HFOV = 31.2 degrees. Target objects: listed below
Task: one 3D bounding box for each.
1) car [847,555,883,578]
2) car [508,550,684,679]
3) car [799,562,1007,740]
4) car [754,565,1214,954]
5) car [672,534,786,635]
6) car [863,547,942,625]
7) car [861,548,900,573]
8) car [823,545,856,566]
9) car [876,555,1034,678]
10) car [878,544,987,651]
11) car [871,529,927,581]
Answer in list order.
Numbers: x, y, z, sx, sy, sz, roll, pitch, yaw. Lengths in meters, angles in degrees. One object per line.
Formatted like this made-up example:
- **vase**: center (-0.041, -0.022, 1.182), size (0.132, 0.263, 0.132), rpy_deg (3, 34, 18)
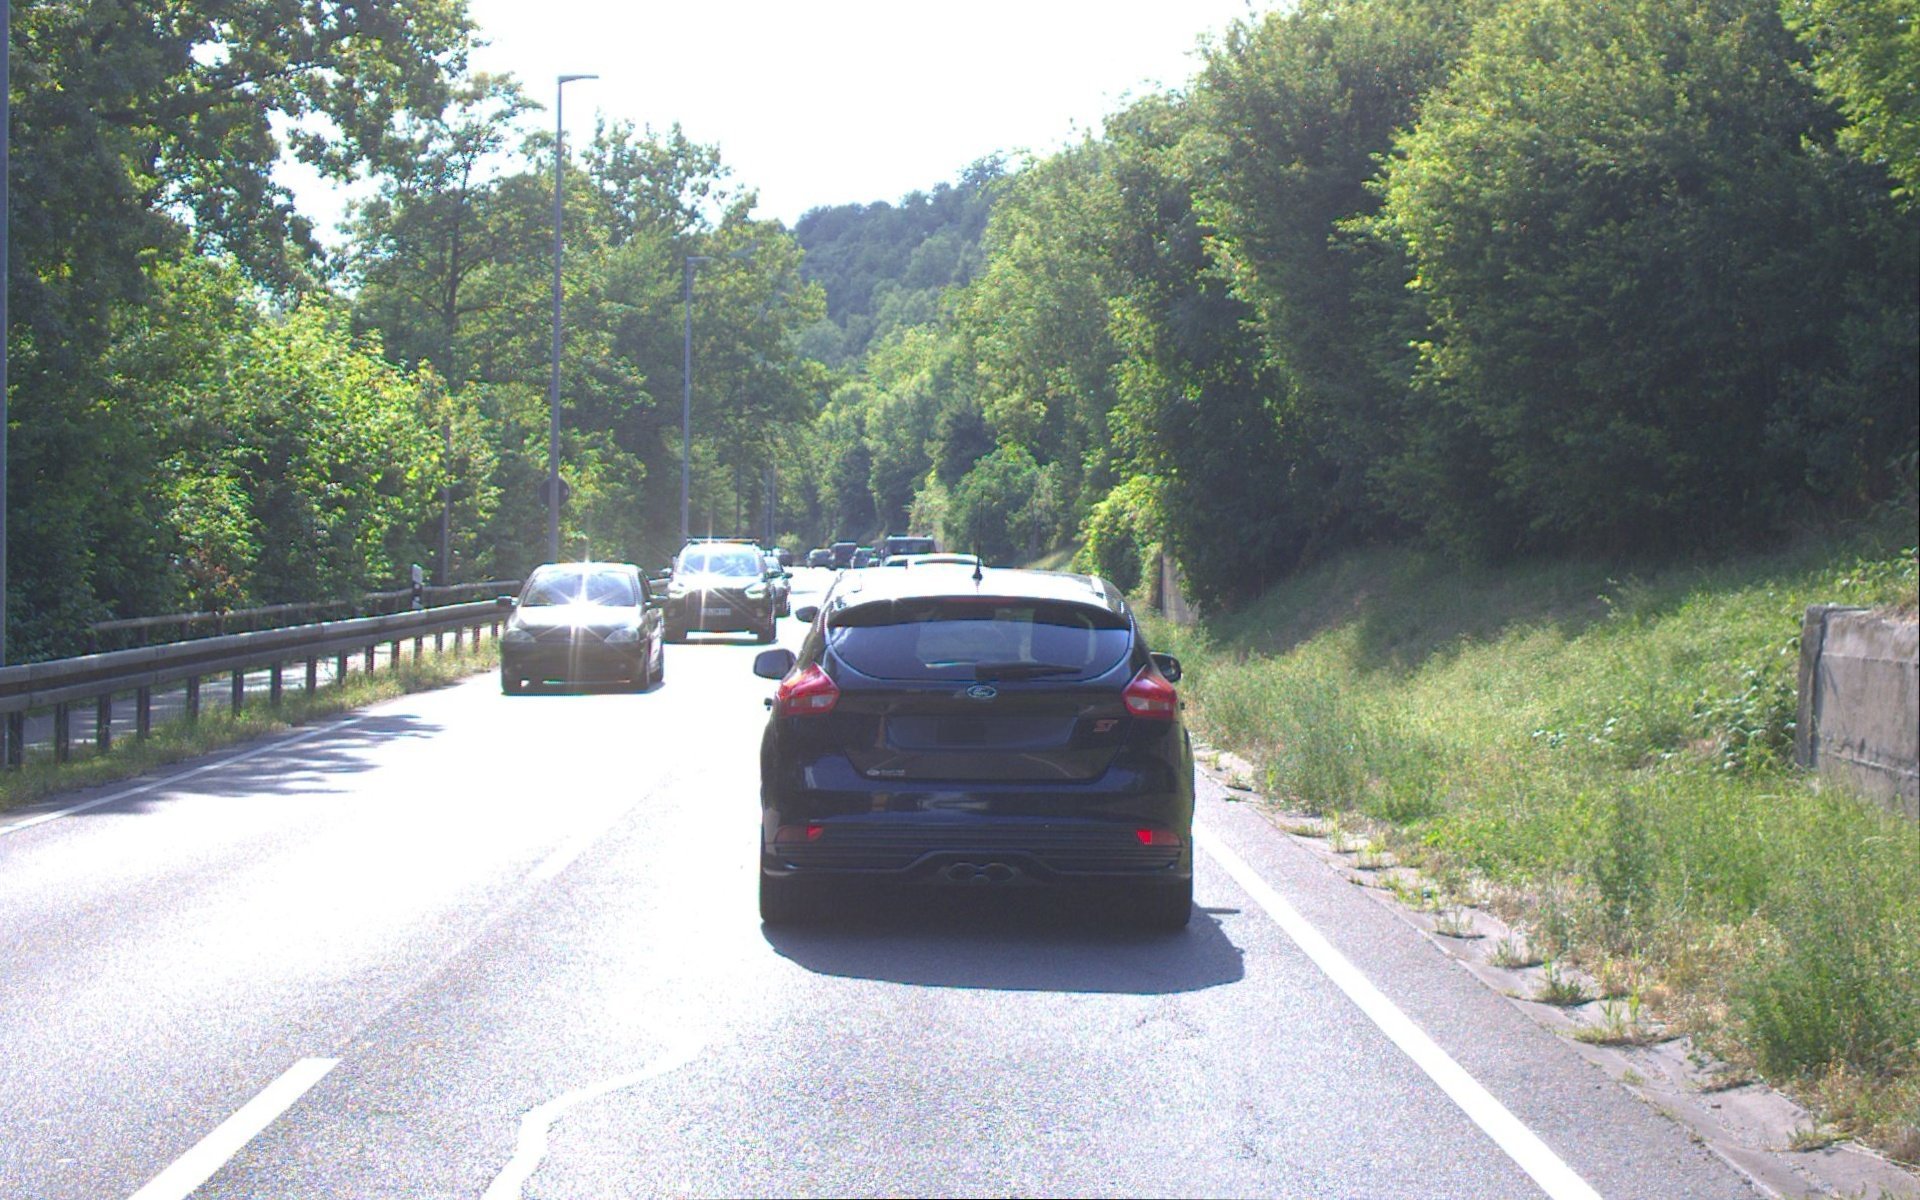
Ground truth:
- **car**: center (-6.419, -2.278, 232.707), size (1.993, 1.514, 4.001), rpy_deg (0, 1, -8)
- **car**: center (-4.274, 0.132, 40.861), size (1.681, 1.437, 4.000), rpy_deg (0, 1, 0)
- **car**: center (-0.430, 0.386, 29.609), size (1.661, 1.413, 4.000), rpy_deg (0, 1, 1)
- **car**: center (0.072, 0.592, 15.200), size (1.739, 1.451, 4.000), rpy_deg (1, 1, -1)
- **car**: center (-4.022, -0.299, 60.407), size (1.748, 1.712, 4.221), rpy_deg (0, 1, 0)
- **car**: center (-1.201, -0.320, 72.987), size (1.631, 1.590, 4.000), rpy_deg (0, 1, -1)
- **car**: center (-4.914, -2.464, 211.797), size (1.993, 1.514, 4.001), rpy_deg (0, 1, -8)
- **car**: center (-8.614, -3.173, 245.625), size (1.993, 1.514, 4.001), rpy_deg (0, 1, -8)
- **car**: center (-0.077, 0.162, 41.343), size (1.804, 1.387, 4.000), rpy_deg (0, 1, -1)
- **car**: center (-0.432, -0.072, 53.536), size (1.631, 1.590, 4.000), rpy_deg (0, 1, -1)
- **car**: center (-2.119, -1.551, 118.615), size (1.863, 1.774, 4.000), rpy_deg (0, 1, -2)
